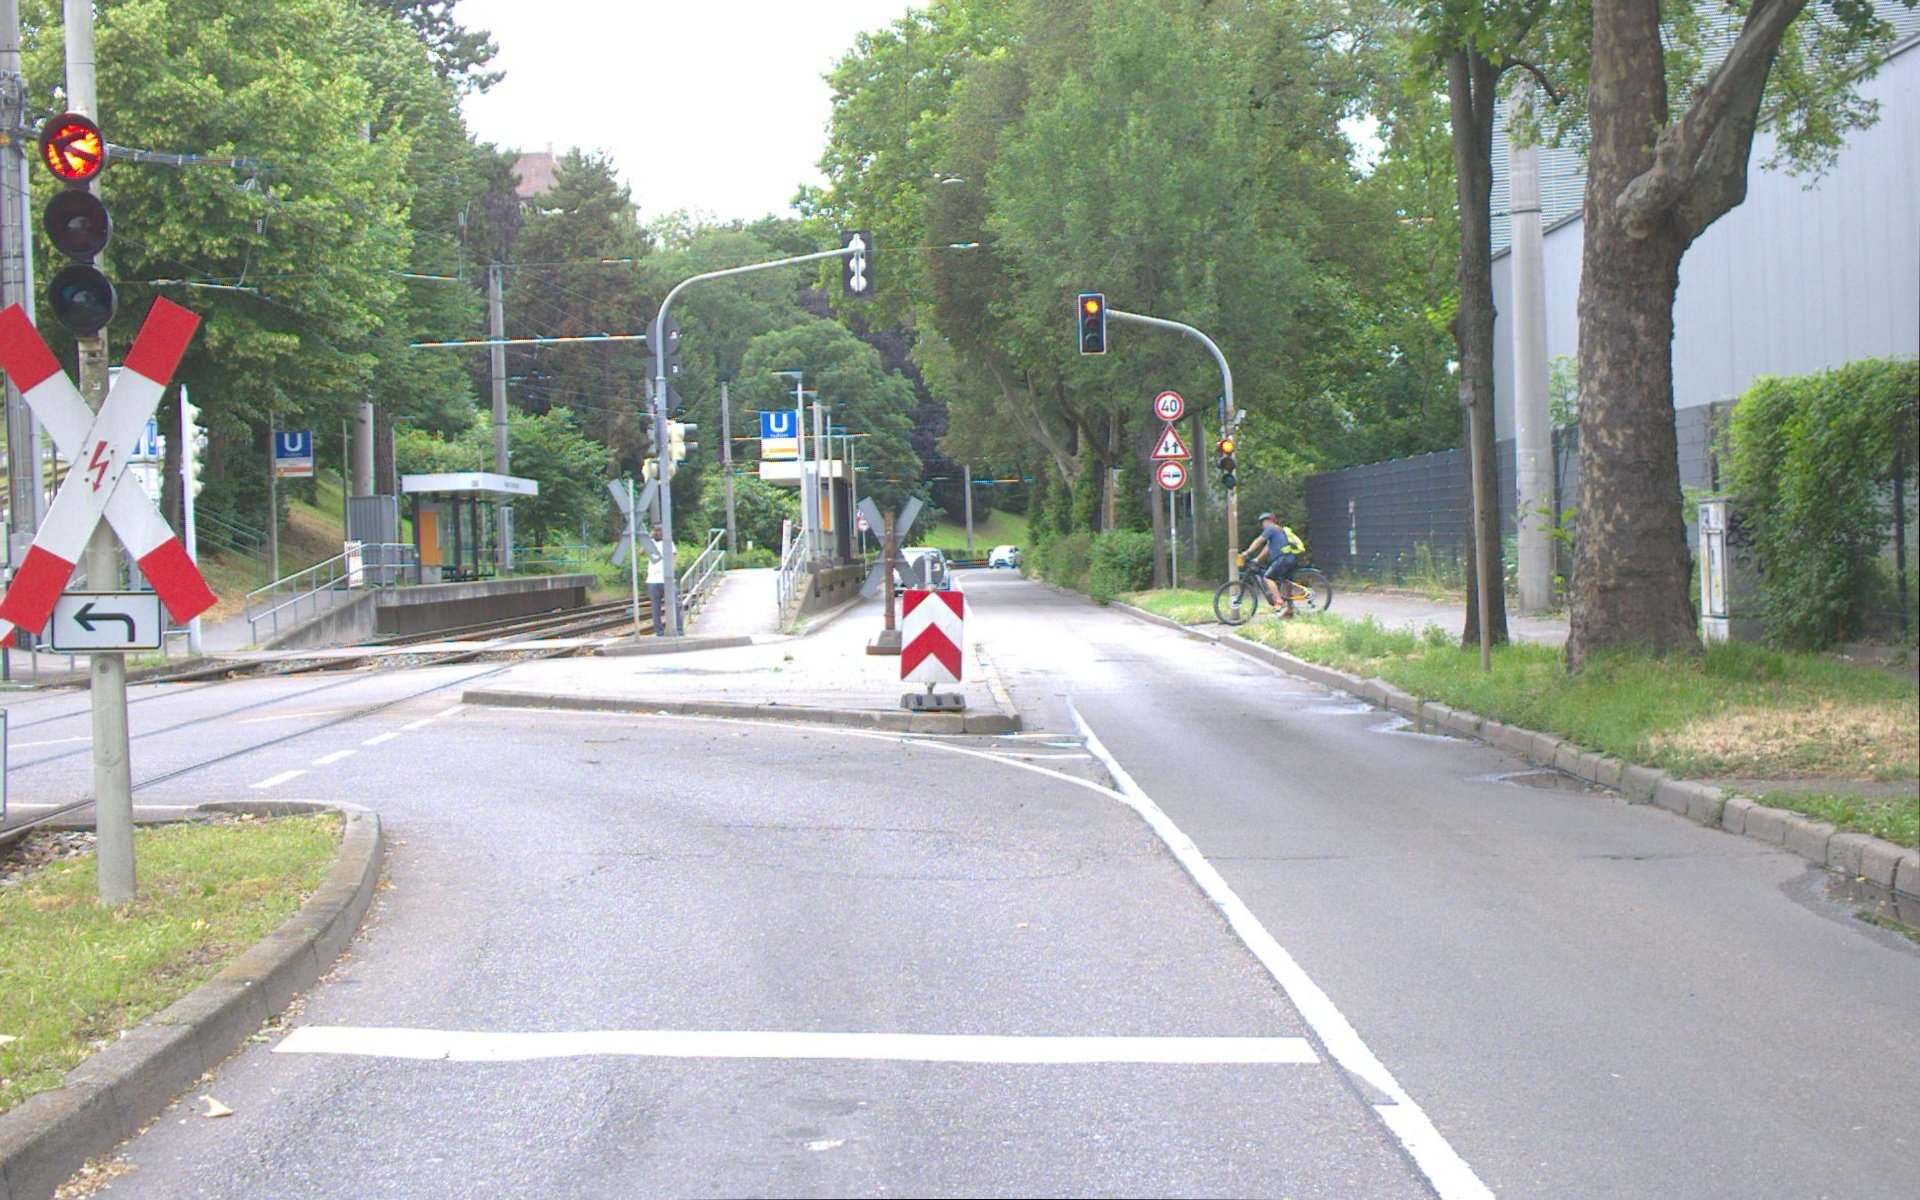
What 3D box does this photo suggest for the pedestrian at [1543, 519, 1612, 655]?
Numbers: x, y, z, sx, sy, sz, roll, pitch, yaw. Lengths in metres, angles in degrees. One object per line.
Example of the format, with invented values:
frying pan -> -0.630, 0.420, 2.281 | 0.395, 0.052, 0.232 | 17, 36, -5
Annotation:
pedestrian -> 7.152, -0.158, 39.871 | 0.666, 1.548, 0.934 | -2, 1, 5

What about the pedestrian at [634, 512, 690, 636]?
pedestrian -> -4.519, -0.395, 52.253 | 0.768, 1.846, 0.910 | -2, 1, -4

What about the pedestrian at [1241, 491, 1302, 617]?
pedestrian -> 5.077, -0.753, 56.010 | 0.931, 2.007, 0.668 | -2, 1, 6

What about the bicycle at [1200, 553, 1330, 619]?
bicycle -> 4.970, -0.231, 55.994 | 2.075, 1.003, 0.668 | -2, 1, 6
